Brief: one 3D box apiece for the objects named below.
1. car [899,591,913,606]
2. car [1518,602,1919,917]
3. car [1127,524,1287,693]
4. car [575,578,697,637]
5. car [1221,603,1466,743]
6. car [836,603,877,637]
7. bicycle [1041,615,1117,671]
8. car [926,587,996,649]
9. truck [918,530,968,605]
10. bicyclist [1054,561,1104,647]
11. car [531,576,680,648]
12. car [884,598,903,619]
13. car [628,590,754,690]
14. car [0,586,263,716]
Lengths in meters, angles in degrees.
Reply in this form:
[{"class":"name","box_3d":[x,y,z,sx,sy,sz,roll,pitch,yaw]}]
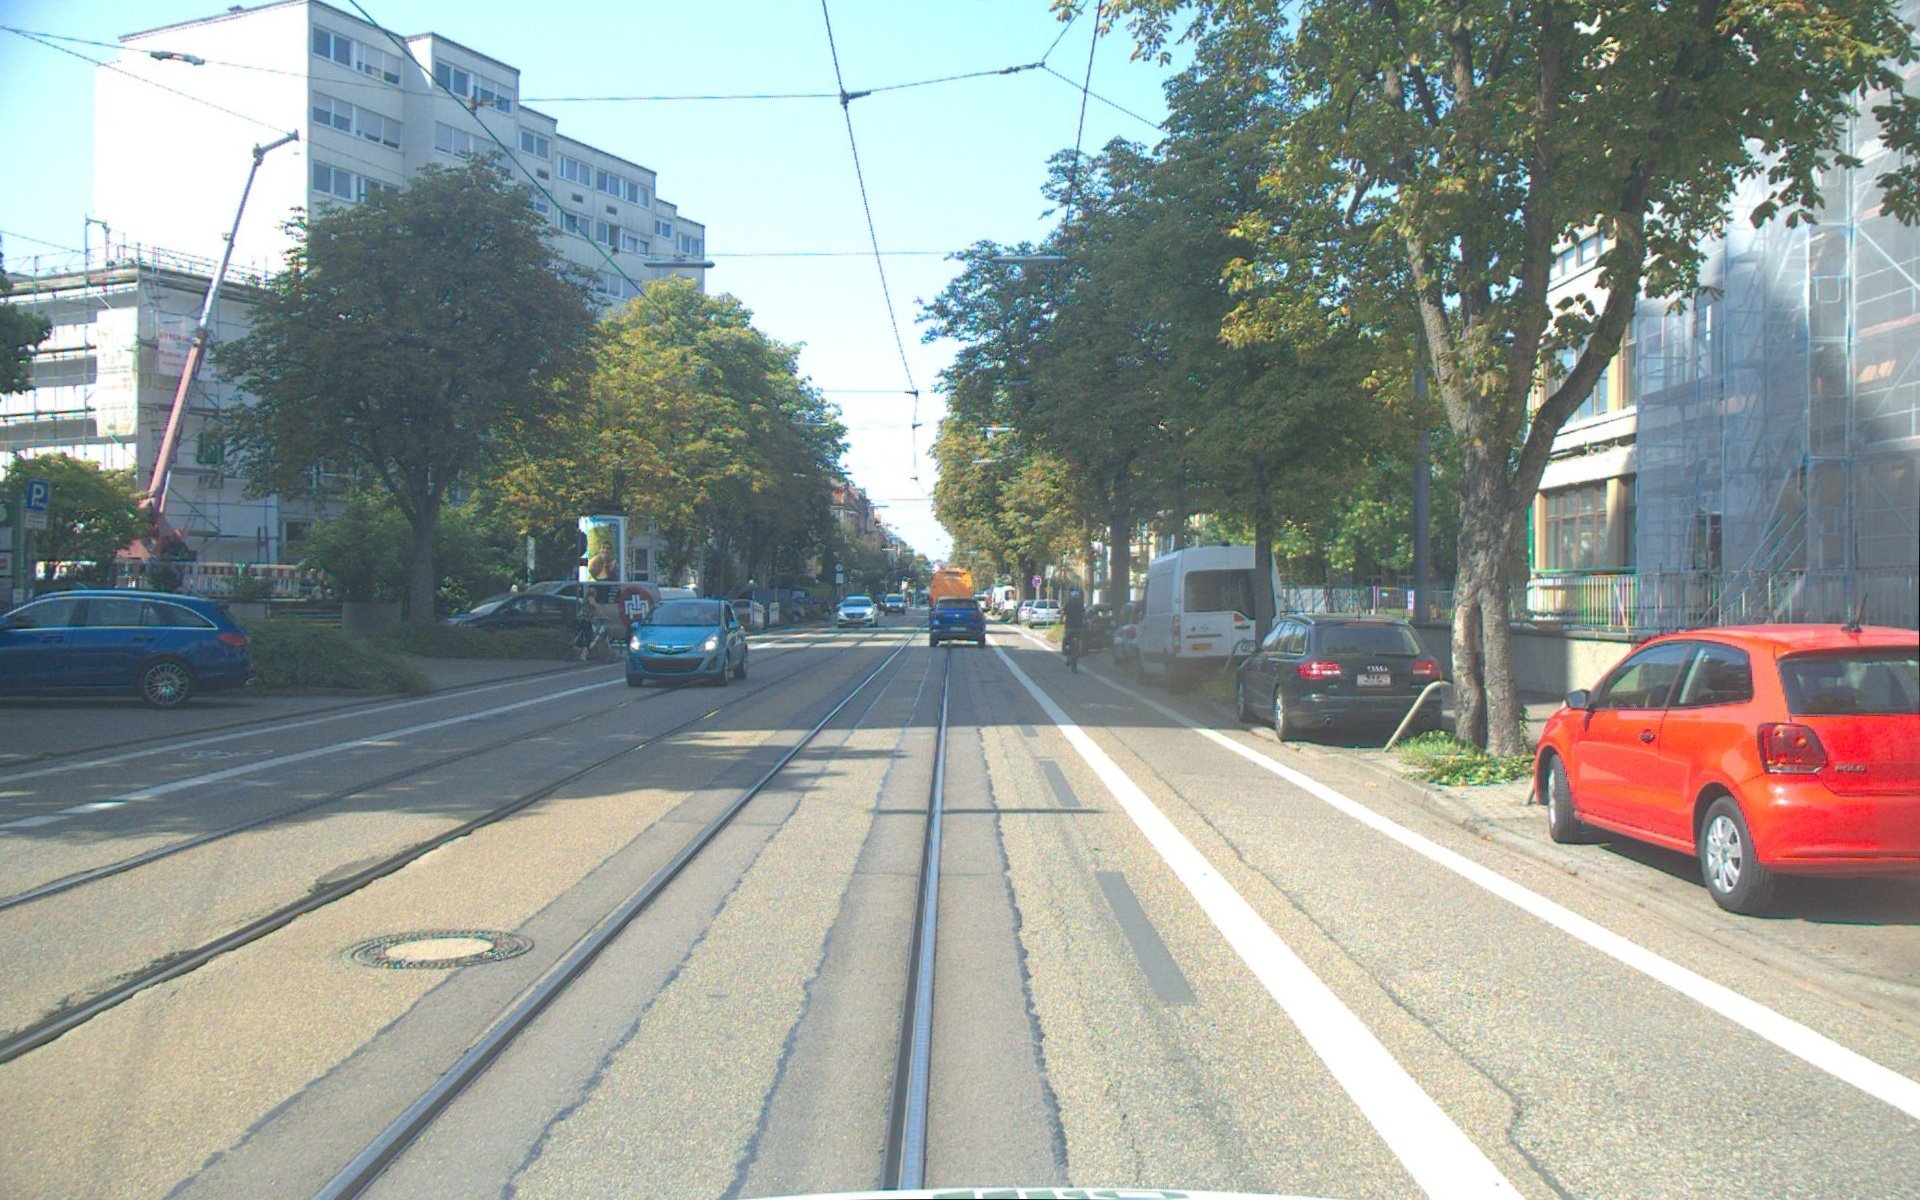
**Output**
[{"class":"car","box_3d":[-6.972,-0.229,213.130,1.711,1.828,3.999,1,0,-1]},{"class":"car","box_3d":[4.818,0.775,9.821,1.705,1.488,3.683,1,0,-1]},{"class":"car","box_3d":[4.429,0.125,30.549,1.953,2.804,5.760,1,0,-1]},{"class":"car","box_3d":[-11.684,0.261,59.723,3.968,2.049,1.827,1,0,-44]},{"class":"car","box_3d":[4.469,0.792,19.957,1.869,1.456,4.291,1,0,-1]},{"class":"car","box_3d":[-5.076,0.979,81.258,1.860,1.589,4.121,1,0,-2]},{"class":"bicycle","box_3d":[2.561,0.933,36.196,1.373,1.154,3.999,0,-1,0]},{"class":"car","box_3d":[0.028,0.537,53.160,2.092,1.891,5.568,0,0,0]},{"class":"truck","box_3d":[-0.721,-1.407,73.508,2.092,3.179,6.084,0,0,0]},{"class":"bicyclist","box_3d":[2.601,0.079,36.183,1.010,1.844,1.016,1,0,-1]},{"class":"car","box_3d":[-10.478,0.334,49.061,3.968,2.049,1.827,1,0,-44]},{"class":"car","box_3d":[-5.666,0.691,141.449,1.594,1.734,3.999,1,0,-1]},{"class":"car","box_3d":[-4.649,0.646,29.086,1.600,1.612,4.187,1,0,-1]},{"class":"car","box_3d":[-11.409,0.619,21.243,4.509,1.580,1.985,1,0,-24]}]
